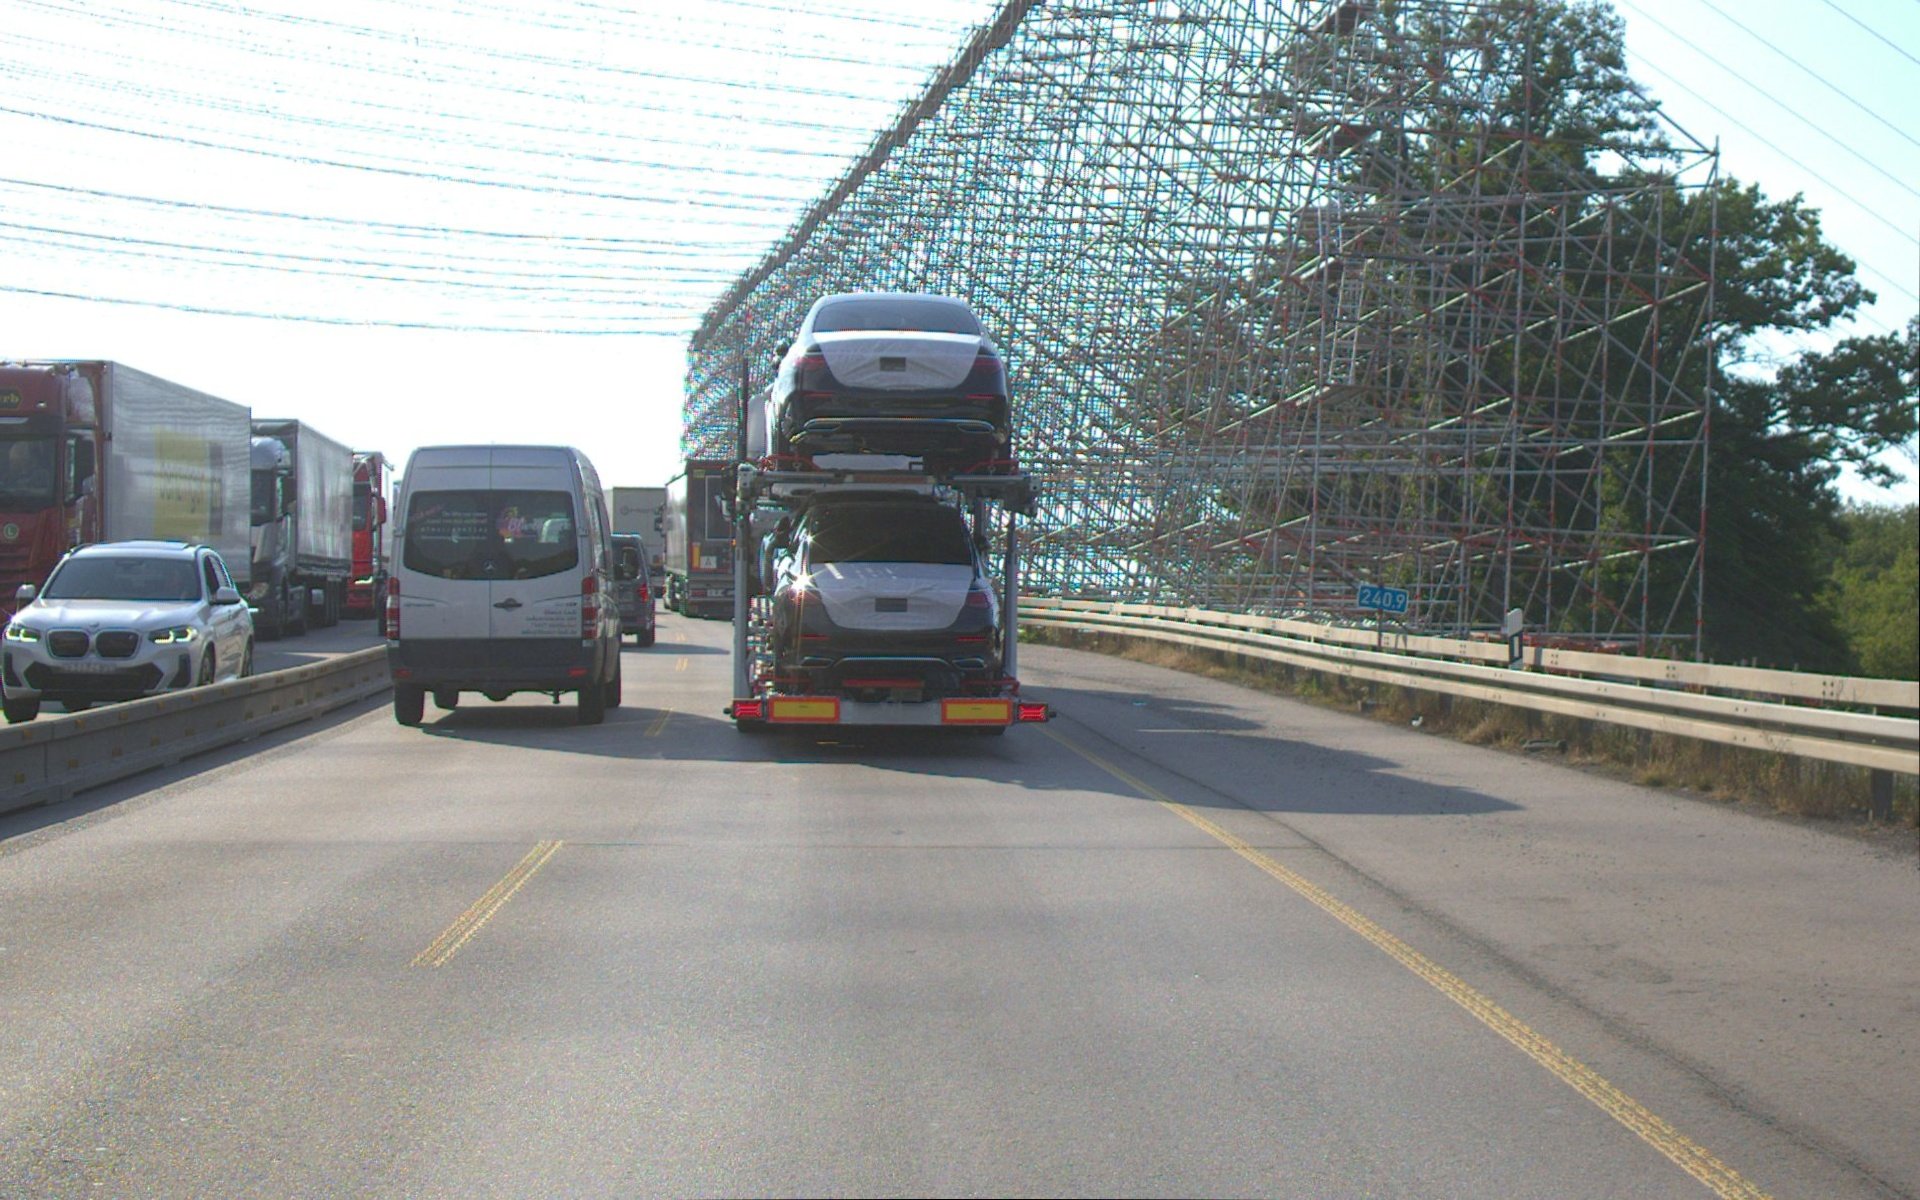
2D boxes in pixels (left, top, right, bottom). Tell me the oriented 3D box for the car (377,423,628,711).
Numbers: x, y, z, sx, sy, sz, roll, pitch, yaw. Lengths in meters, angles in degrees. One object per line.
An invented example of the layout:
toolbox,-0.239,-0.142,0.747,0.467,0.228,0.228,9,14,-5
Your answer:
car,-4.356,-0.310,33.287,1.956,2.612,4.000,0,0,-1

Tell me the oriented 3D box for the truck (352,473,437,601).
truck,-19.218,-2.128,116.571,2.661,4.215,6.106,0,1,-11

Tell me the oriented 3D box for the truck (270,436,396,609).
truck,-16.249,-1.936,89.806,2.786,4.127,13.811,0,0,-9

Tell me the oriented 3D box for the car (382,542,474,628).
car,-10.656,-0.331,68.813,1.752,1.652,4.864,0,1,-9

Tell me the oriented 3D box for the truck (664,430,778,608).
truck,-6.410,-2.120,91.510,2.731,4.370,11.523,1,1,-5

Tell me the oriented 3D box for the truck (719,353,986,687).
truck,-1.451,-0.916,41.941,2.881,3.690,7.326,0,0,-4

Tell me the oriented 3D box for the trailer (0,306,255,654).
trailer,-12.472,-1.563,49.696,2.765,4.319,13.883,0,0,-5

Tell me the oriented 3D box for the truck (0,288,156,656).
truck,-11.933,-1.525,43.058,2.744,4.285,5.935,0,0,-5

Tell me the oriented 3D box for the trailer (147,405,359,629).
trailer,-14.325,-1.604,70.717,2.798,4.127,13.969,0,0,-6

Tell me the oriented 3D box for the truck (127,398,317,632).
truck,-13.672,-1.539,64.099,2.787,4.127,5.935,0,0,-6

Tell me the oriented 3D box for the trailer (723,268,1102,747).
trailer,-0.879,-0.787,34.314,2.868,3.712,14.949,0,0,-4

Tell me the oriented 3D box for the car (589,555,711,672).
car,-5.635,0.226,62.148,1.993,2.007,4.001,1,0,-8

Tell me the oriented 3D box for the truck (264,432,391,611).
truck,-15.268,-1.861,83.330,2.786,4.127,6.681,0,0,-9

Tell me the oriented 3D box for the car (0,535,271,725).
car,-7.982,0.233,33.654,1.869,1.583,4.805,2,2,-5

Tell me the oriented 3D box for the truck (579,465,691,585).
truck,-12.380,-2.883,132.123,3.686,4.206,13.671,-2,1,-4
